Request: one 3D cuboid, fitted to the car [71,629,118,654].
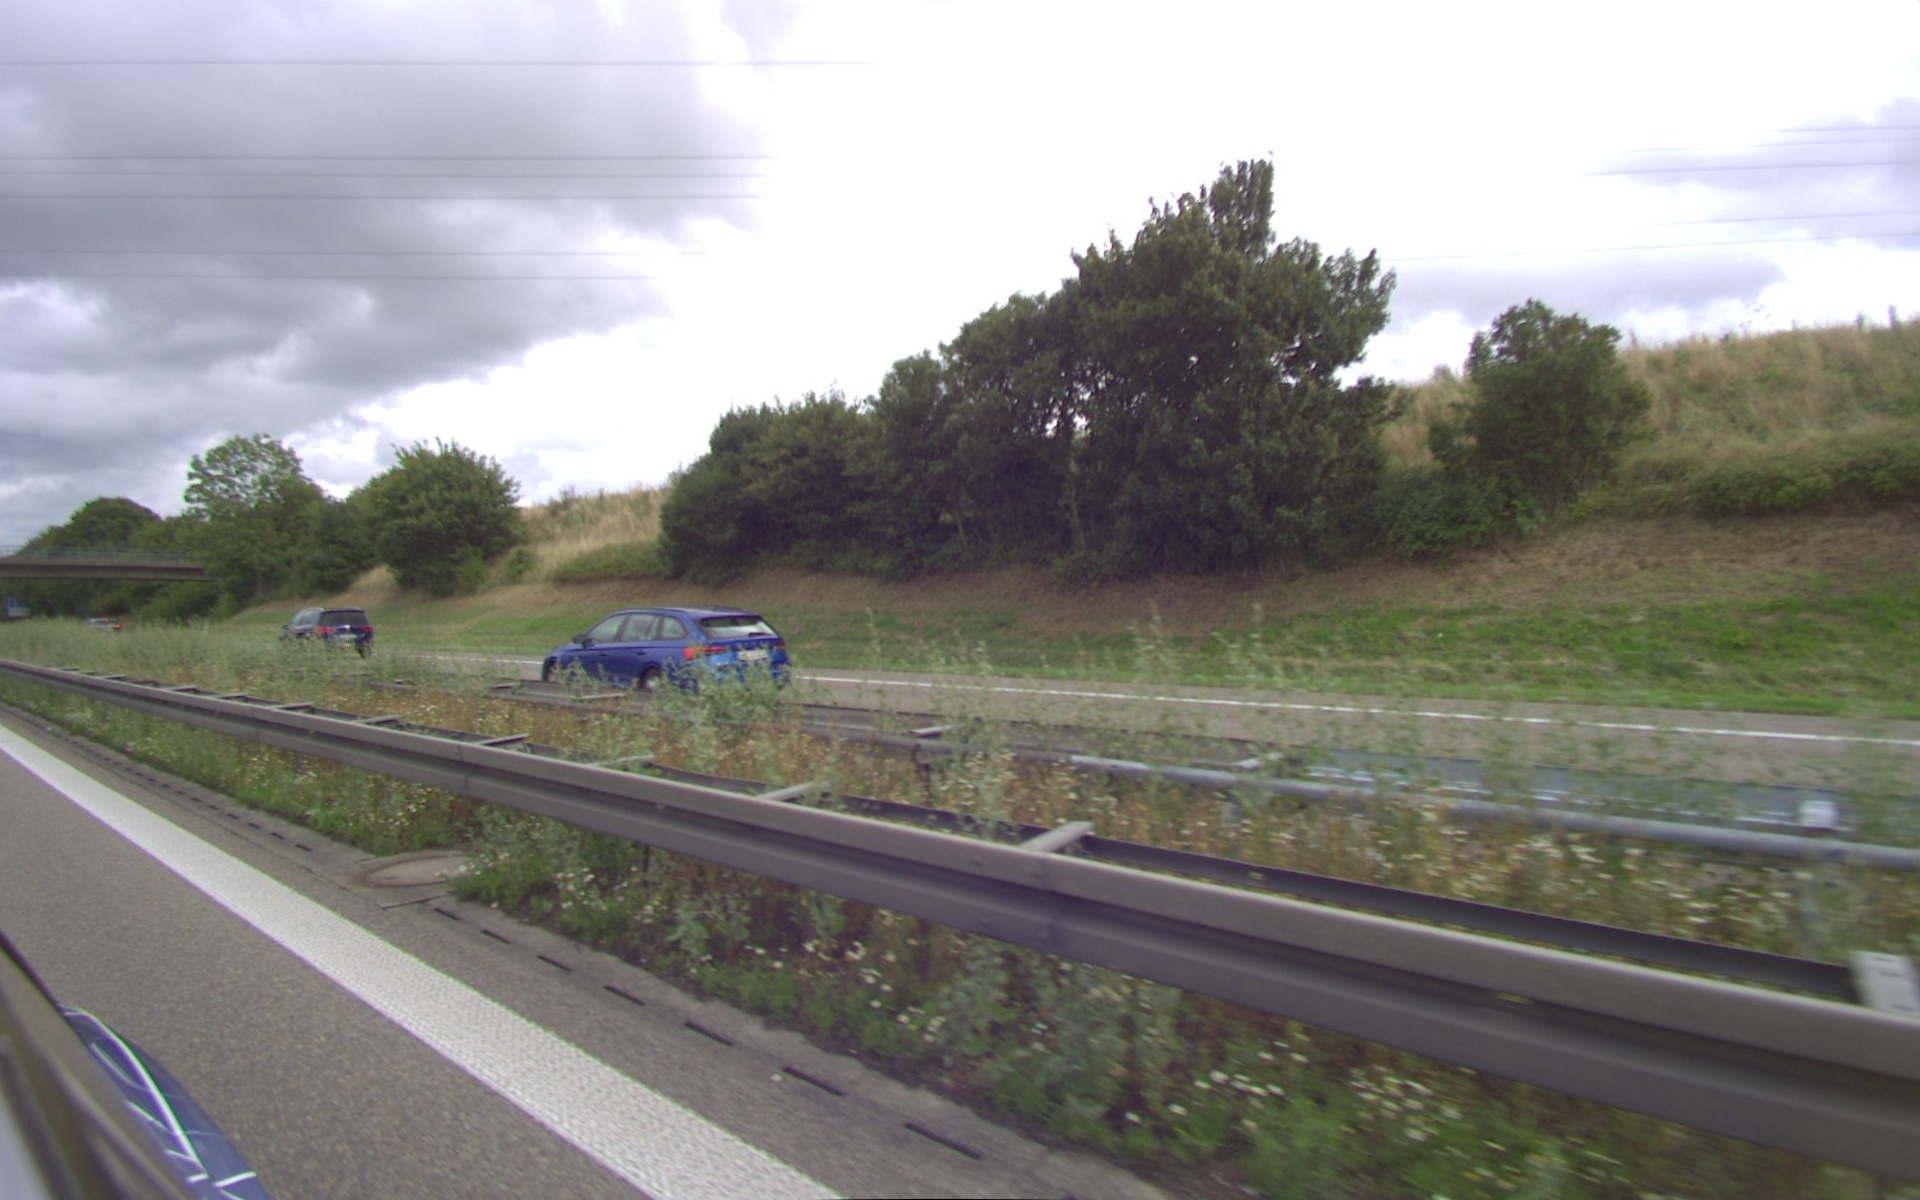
[{"bbox_3d":[-55.676,2.676,65.084,3.998,1.464,1.728,-1,0,41],"label":"car"}]

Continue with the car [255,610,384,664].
[{"bbox_3d":[-21.040,1.169,33.132,5.616,1.587,1.909,-1,0,39],"label":"car"}]

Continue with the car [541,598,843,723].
[{"bbox_3d":[-3.897,0.750,14.315,4.441,1.468,1.973,-1,0,41],"label":"car"}]
